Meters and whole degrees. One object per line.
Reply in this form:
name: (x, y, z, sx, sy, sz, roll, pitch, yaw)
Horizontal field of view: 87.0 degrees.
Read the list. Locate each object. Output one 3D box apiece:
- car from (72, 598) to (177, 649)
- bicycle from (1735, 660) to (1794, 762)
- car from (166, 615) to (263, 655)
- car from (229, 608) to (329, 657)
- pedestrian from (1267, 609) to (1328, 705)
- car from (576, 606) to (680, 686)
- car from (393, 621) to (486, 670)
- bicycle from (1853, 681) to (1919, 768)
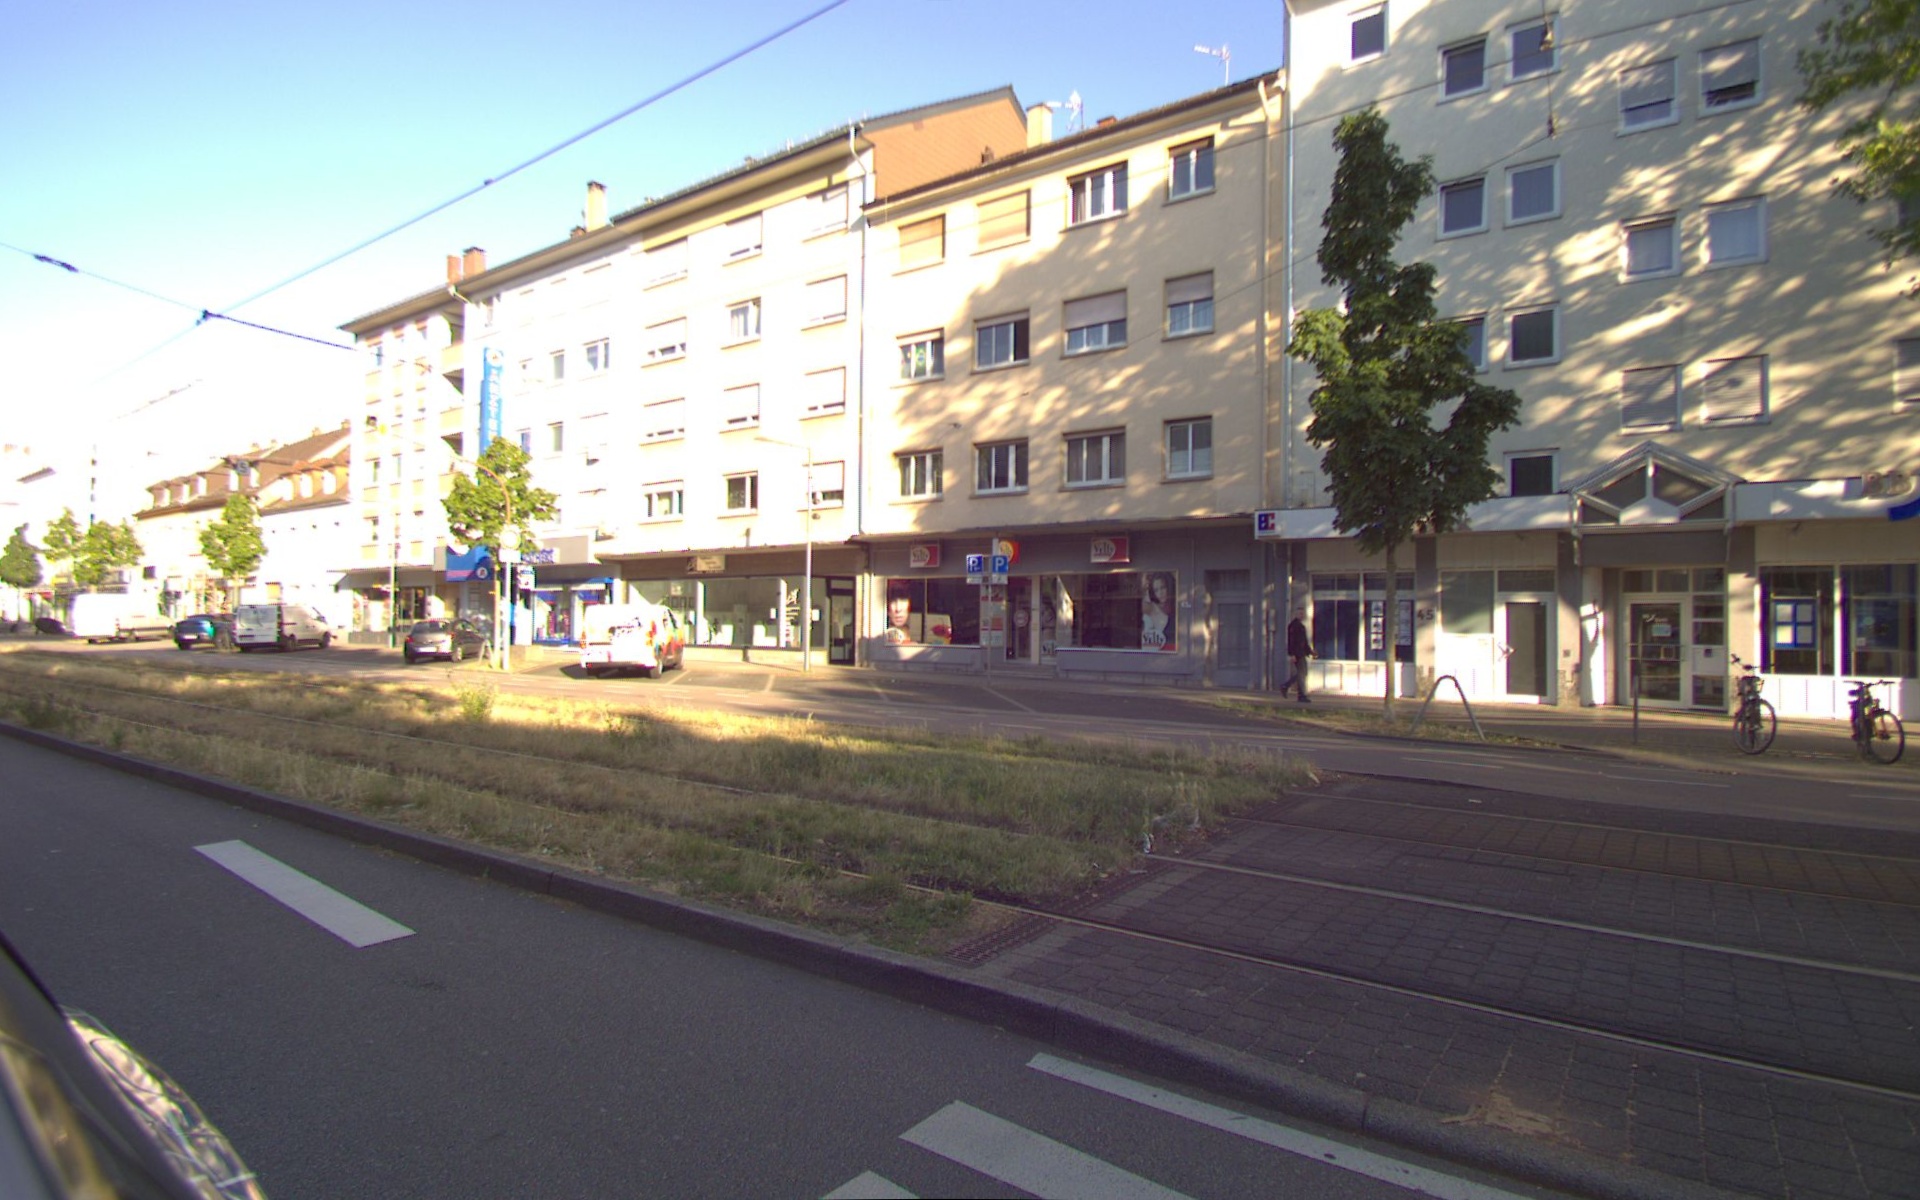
car: (-45.349, 1.223, 55.137, 1.895, 2.634, 6.608, 0, 0, -16)
bicycle: (10.298, 1.384, 12.980, 0.511, 1.147, 1.724, -1, -1, 36)
car: (-34.173, 1.563, 46.527, 1.830, 1.727, 3.919, 0, 0, -4)
car: (-28.634, 1.310, 42.734, 1.828, 1.952, 4.514, 0, 0, -10)
pedestrian: (6.666, 1.095, 19.982, 0.916, 1.841, 0.747, -1, -1, 41)
car: (-8.788, 1.152, 27.103, 1.830, 1.913, 4.005, 0, 0, -6)
car: (-17.596, 1.505, 34.410, 1.708, 1.508, 4.009, 0, 0, -10)
bicycle: (11.332, 1.485, 12.359, 0.471, 0.895, 1.724, -1, -1, 36)
